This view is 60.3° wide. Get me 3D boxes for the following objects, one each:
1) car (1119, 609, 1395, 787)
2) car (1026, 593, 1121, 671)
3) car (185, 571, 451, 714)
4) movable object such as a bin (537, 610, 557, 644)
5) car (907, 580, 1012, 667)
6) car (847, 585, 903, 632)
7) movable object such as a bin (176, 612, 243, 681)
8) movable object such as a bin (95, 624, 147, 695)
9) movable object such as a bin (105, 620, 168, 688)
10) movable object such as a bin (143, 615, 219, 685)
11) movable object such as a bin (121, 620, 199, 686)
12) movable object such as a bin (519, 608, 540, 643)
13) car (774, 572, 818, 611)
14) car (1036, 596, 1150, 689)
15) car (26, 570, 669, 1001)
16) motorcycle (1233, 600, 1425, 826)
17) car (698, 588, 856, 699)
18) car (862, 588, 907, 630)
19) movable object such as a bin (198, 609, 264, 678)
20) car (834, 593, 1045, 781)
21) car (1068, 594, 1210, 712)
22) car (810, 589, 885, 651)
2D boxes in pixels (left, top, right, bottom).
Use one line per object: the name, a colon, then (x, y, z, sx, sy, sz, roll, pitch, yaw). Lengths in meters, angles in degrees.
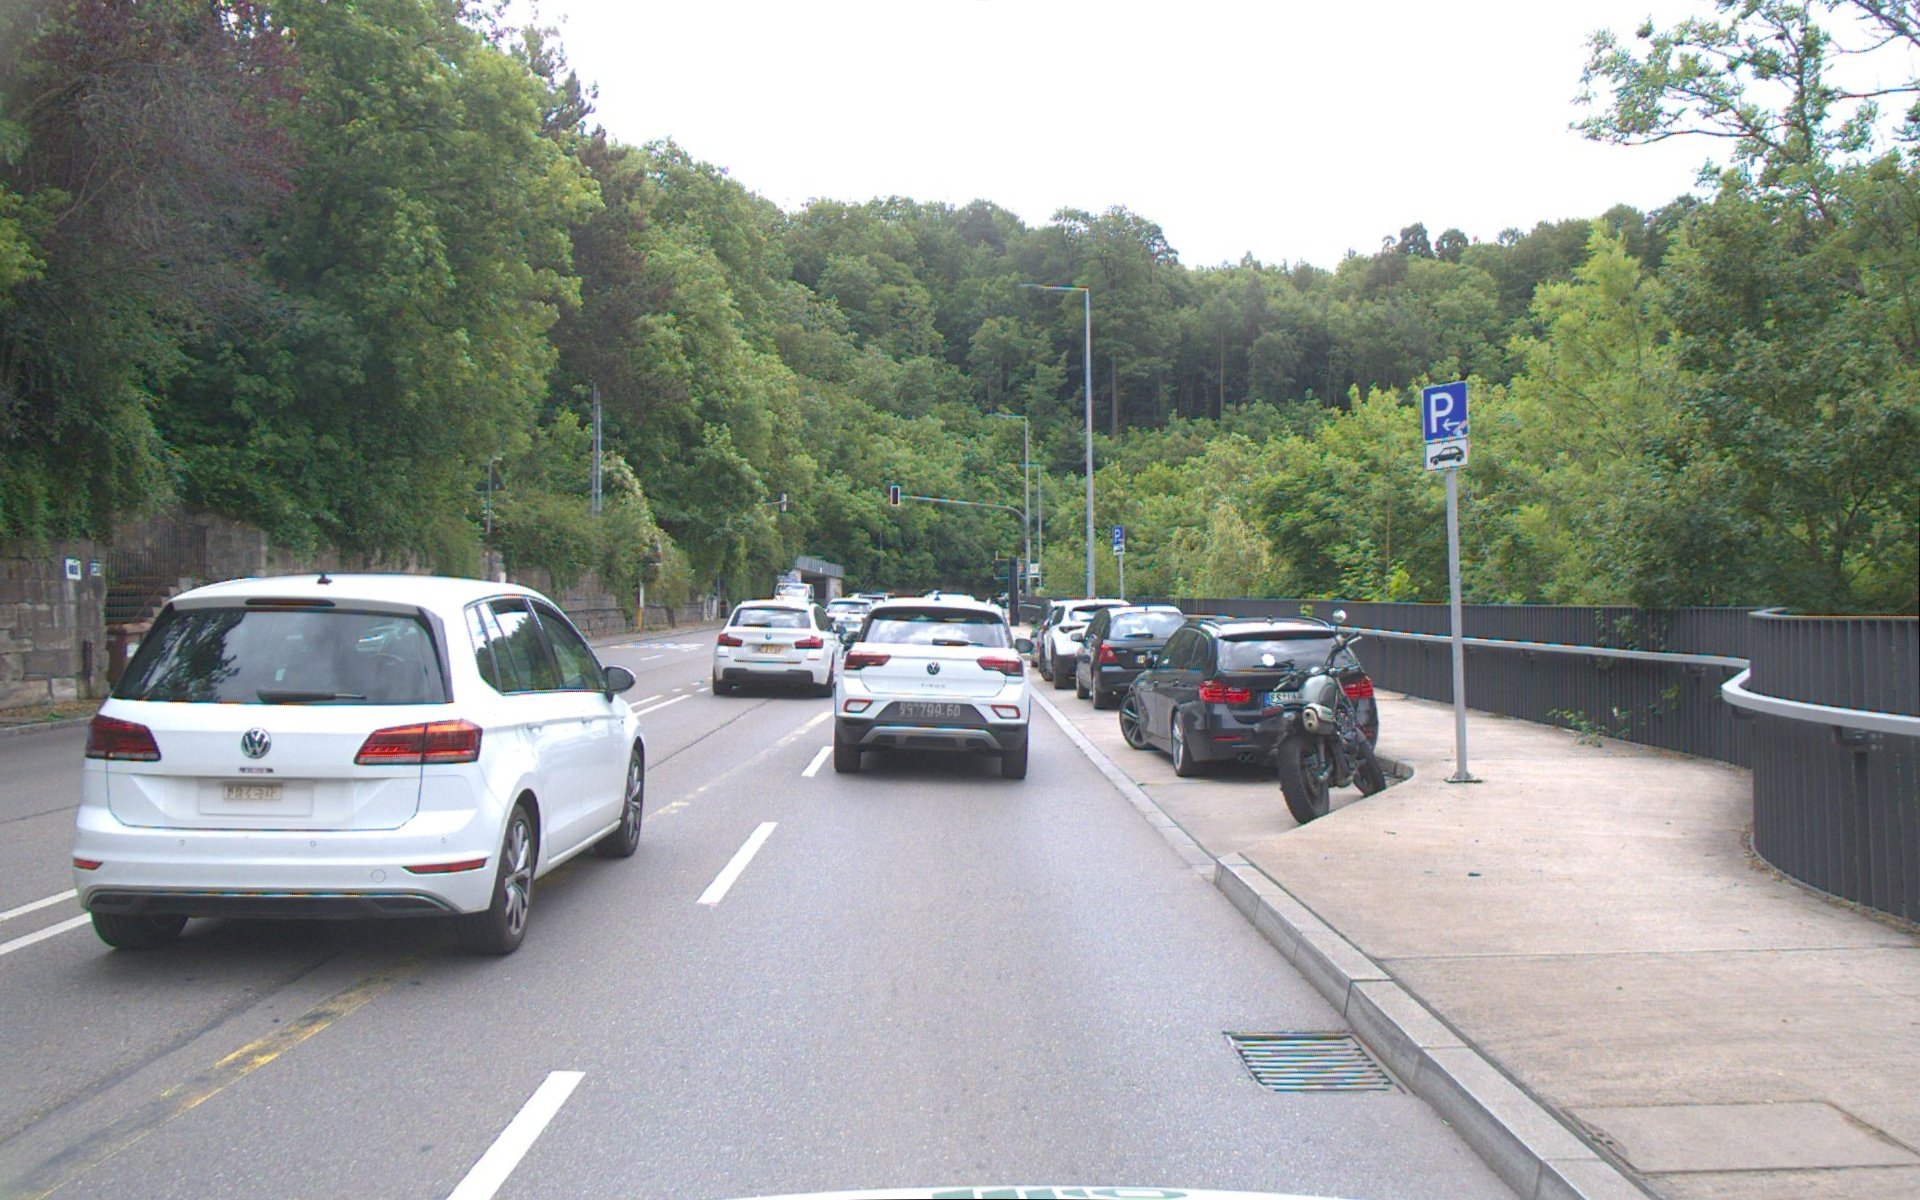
car: (2.747, 0.847, 16.307, 1.786, 1.425, 4.318, -2, 0, -2)
car: (2.500, 0.677, 37.259, 1.721, 1.571, 4.426, -3, 0, -1)
car: (-8.592, 0.528, 22.597, 1.778, 1.727, 4.470, 1, 0, 1)
movable object such as a bin: (-11.771, 0.760, 47.168, 0.469, 0.952, 0.365, 2, -1, -5)
car: (0.048, 0.542, 39.167, 1.951, 1.875, 4.153, 2, 0, 7)
car: (-3.322, 0.318, 65.066, 1.953, 1.771, 4.000, 1, 0, 0)
movable object such as a bin: (-11.899, 0.728, 26.232, 0.757, 1.080, 0.717, 0, 0, -4)
movable object such as a bin: (-11.827, 0.832, 23.322, 0.506, 0.983, 0.474, 0, 0, -4)
movable object such as a bin: (-12.046, 0.787, 24.196, 0.660, 0.983, 0.543, 0, 0, -4)
movable object such as a bin: (-11.989, 0.771, 25.487, 0.880, 1.052, 0.621, 0, 0, -4)
movable object such as a bin: (-12.009, 0.791, 24.845, 0.898, 0.962, 0.593, 0, 0, -4)
movable object such as a bin: (-12.267, 0.730, 47.133, 0.468, 0.988, 0.367, 2, -1, -5)
car: (-8.845, -0.457, 89.581, 1.882, 2.040, 5.355, 1, 0, 0)
car: (2.419, 0.743, 31.109, 1.691, 1.596, 4.623, -1, 0, -1)
car: (-2.647, 0.688, 8.285, 1.685, 1.581, 4.274, 1, 0, -1)
motorcycle: (2.796, 0.761, 12.282, 0.755, 1.493, 2.501, 1, 0, 28)
car: (-2.832, 0.632, 26.652, 1.952, 1.585, 4.681, 2, 0, 0)
car: (-3.563, 0.405, 78.846, 1.953, 1.897, 4.000, 1, 0, 0)
movable object such as a bin: (-11.881, 0.696, 26.971, 0.772, 1.089, 0.708, 0, 1, -4)
car: (-0.265, 0.746, 15.940, 1.777, 1.566, 4.006, 0, 0, -3)
car: (2.691, 0.750, 25.687, 1.626, 1.599, 4.254, -2, 0, -1)
car: (-3.192, 0.554, 47.742, 1.824, 1.623, 4.000, 2, 0, 0)
